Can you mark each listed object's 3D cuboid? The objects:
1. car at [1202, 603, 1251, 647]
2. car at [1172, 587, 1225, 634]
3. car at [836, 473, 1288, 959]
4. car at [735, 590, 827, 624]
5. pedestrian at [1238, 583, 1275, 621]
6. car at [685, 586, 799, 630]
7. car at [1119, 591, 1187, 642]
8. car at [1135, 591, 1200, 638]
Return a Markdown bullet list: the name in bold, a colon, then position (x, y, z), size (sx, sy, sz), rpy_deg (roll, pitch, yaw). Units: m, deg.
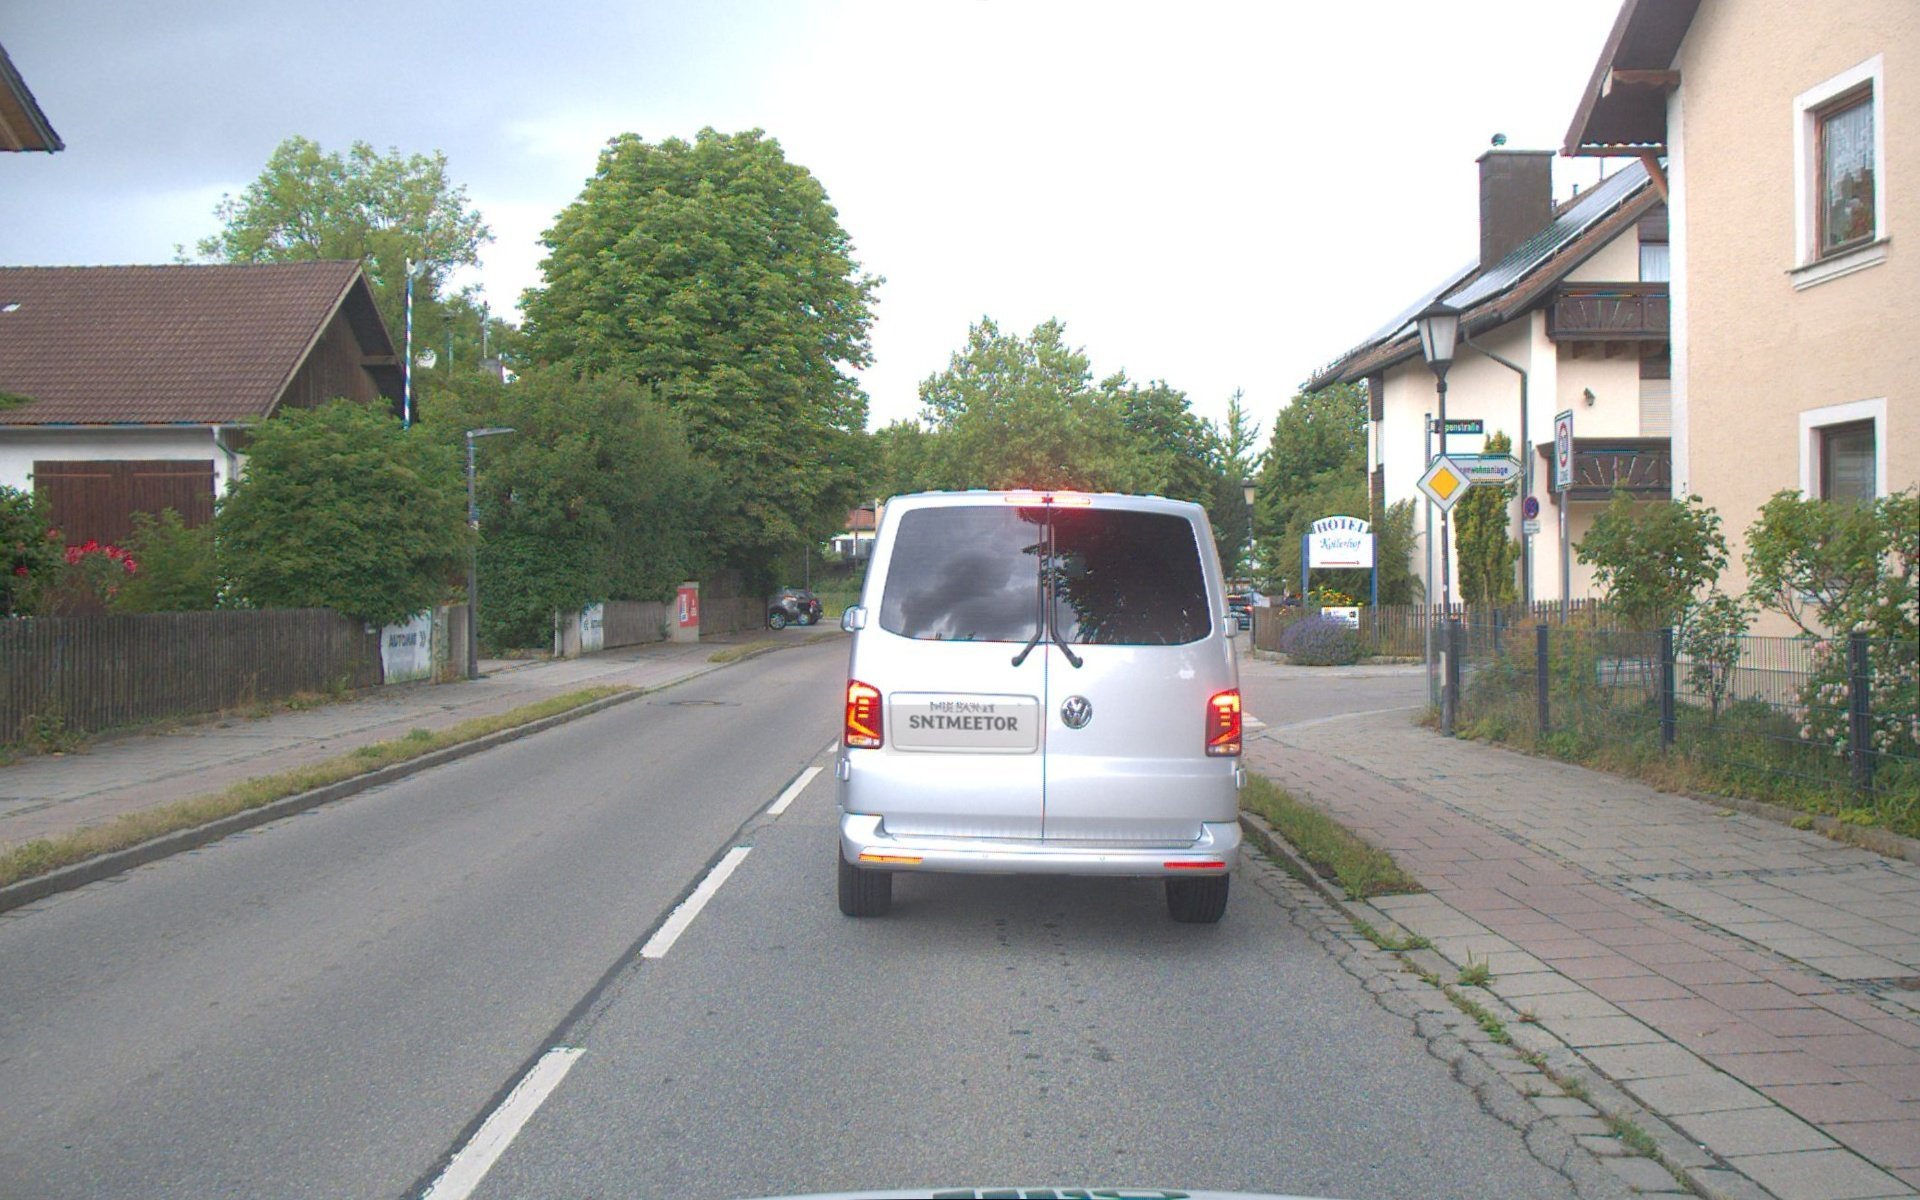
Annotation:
- **car**: position (11.728, 1.082, 72.585), size (1.841, 1.857, 3.924), rpy_deg (0, 0, 13)
- **car**: position (9.510, 0.406, 65.681), size (1.841, 1.779, 4.084), rpy_deg (-1, 0, 12)
- **car**: position (0.418, 0.465, 8.731), size (1.843, 1.974, 3.920), rpy_deg (0, 0, 0)
- **car**: position (-7.457, 0.289, 68.841), size (3.683, 1.369, 1.579), rpy_deg (0, 0, -11)
- **pedestrian**: position (16.223, 0.126, 90.474), size (1.350, 2.049, 1.499), rpy_deg (0, 0, -40)
- **car**: position (-7.725, 0.276, 58.588), size (3.913, 1.512, 1.996), rpy_deg (0, 0, -9)
- **car**: position (6.125, 0.492, 52.235), size (1.841, 1.562, 3.924), rpy_deg (0, 0, 11)
- **car**: position (7.181, 0.478, 57.084), size (1.841, 1.562, 3.924), rpy_deg (0, 0, 13)
